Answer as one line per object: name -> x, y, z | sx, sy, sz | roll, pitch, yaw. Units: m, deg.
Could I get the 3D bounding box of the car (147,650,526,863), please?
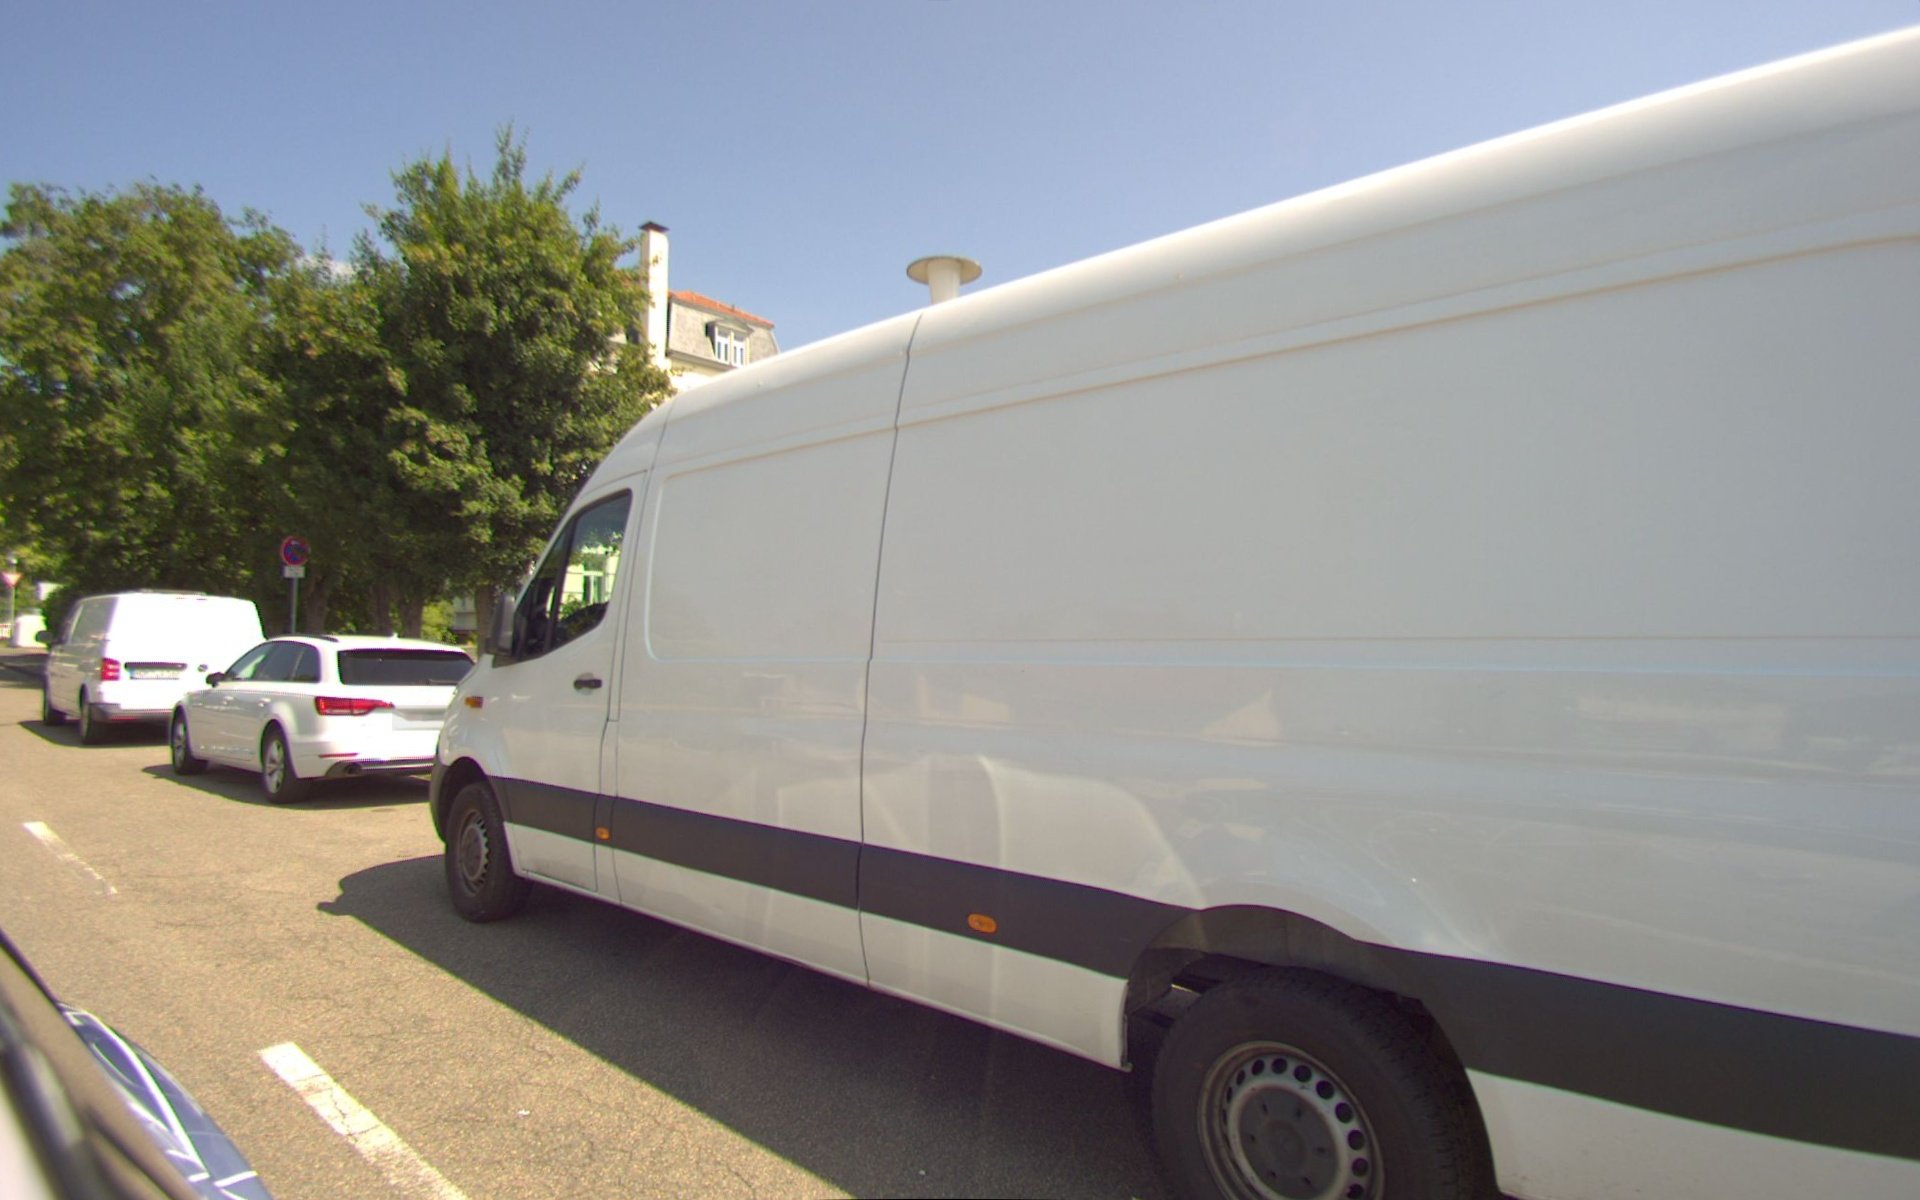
car -> -6.165, 1.317, 9.801 | 4.396, 1.555, 1.697 | -1, -5, 39

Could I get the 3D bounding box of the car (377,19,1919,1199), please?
car -> 0.126, 0.508, 4.131 | 6.917, 2.616, 2.145 | -1, -4, 41

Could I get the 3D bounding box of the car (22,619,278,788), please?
car -> -11.796, 1.357, 14.602 | 5.054, 2.029, 1.950 | -2, -5, 41
